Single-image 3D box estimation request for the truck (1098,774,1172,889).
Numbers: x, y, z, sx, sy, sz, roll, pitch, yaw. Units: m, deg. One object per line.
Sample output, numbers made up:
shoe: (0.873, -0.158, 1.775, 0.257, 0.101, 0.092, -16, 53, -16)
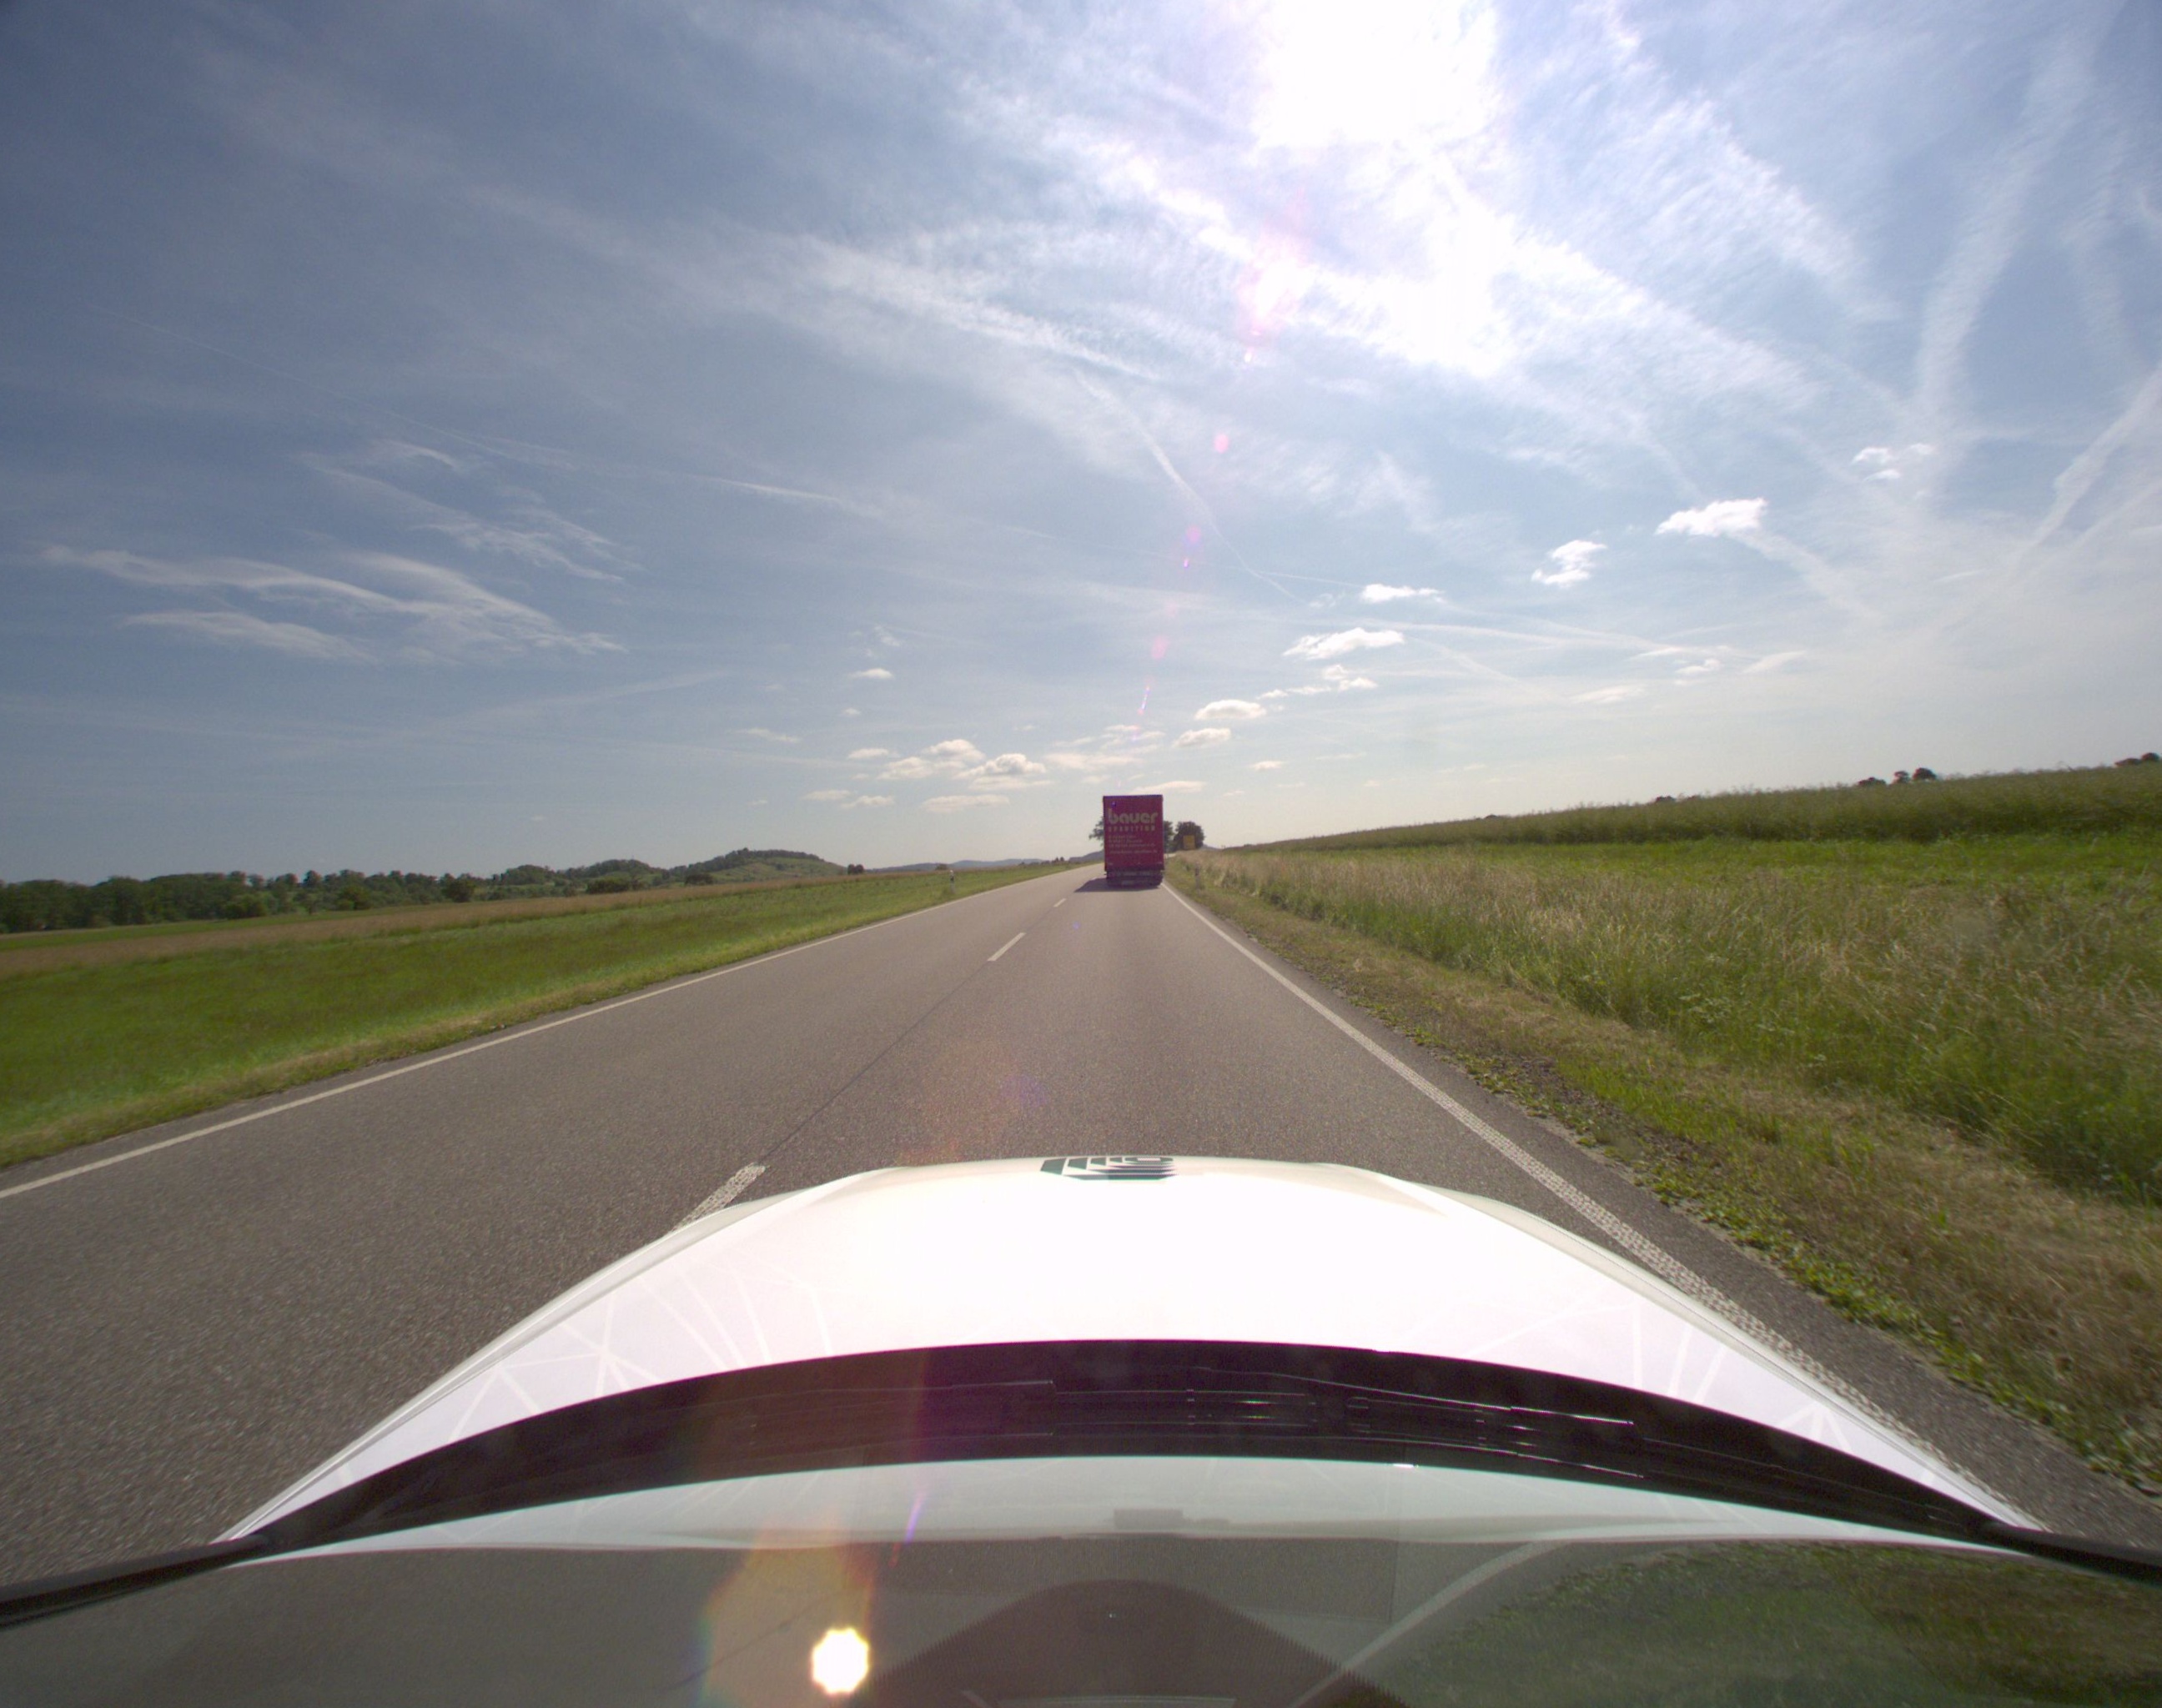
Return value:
truck: (2.508, -1.002, 38.744, 2.963, 4.713, 9.374, -2, 0, 3)
